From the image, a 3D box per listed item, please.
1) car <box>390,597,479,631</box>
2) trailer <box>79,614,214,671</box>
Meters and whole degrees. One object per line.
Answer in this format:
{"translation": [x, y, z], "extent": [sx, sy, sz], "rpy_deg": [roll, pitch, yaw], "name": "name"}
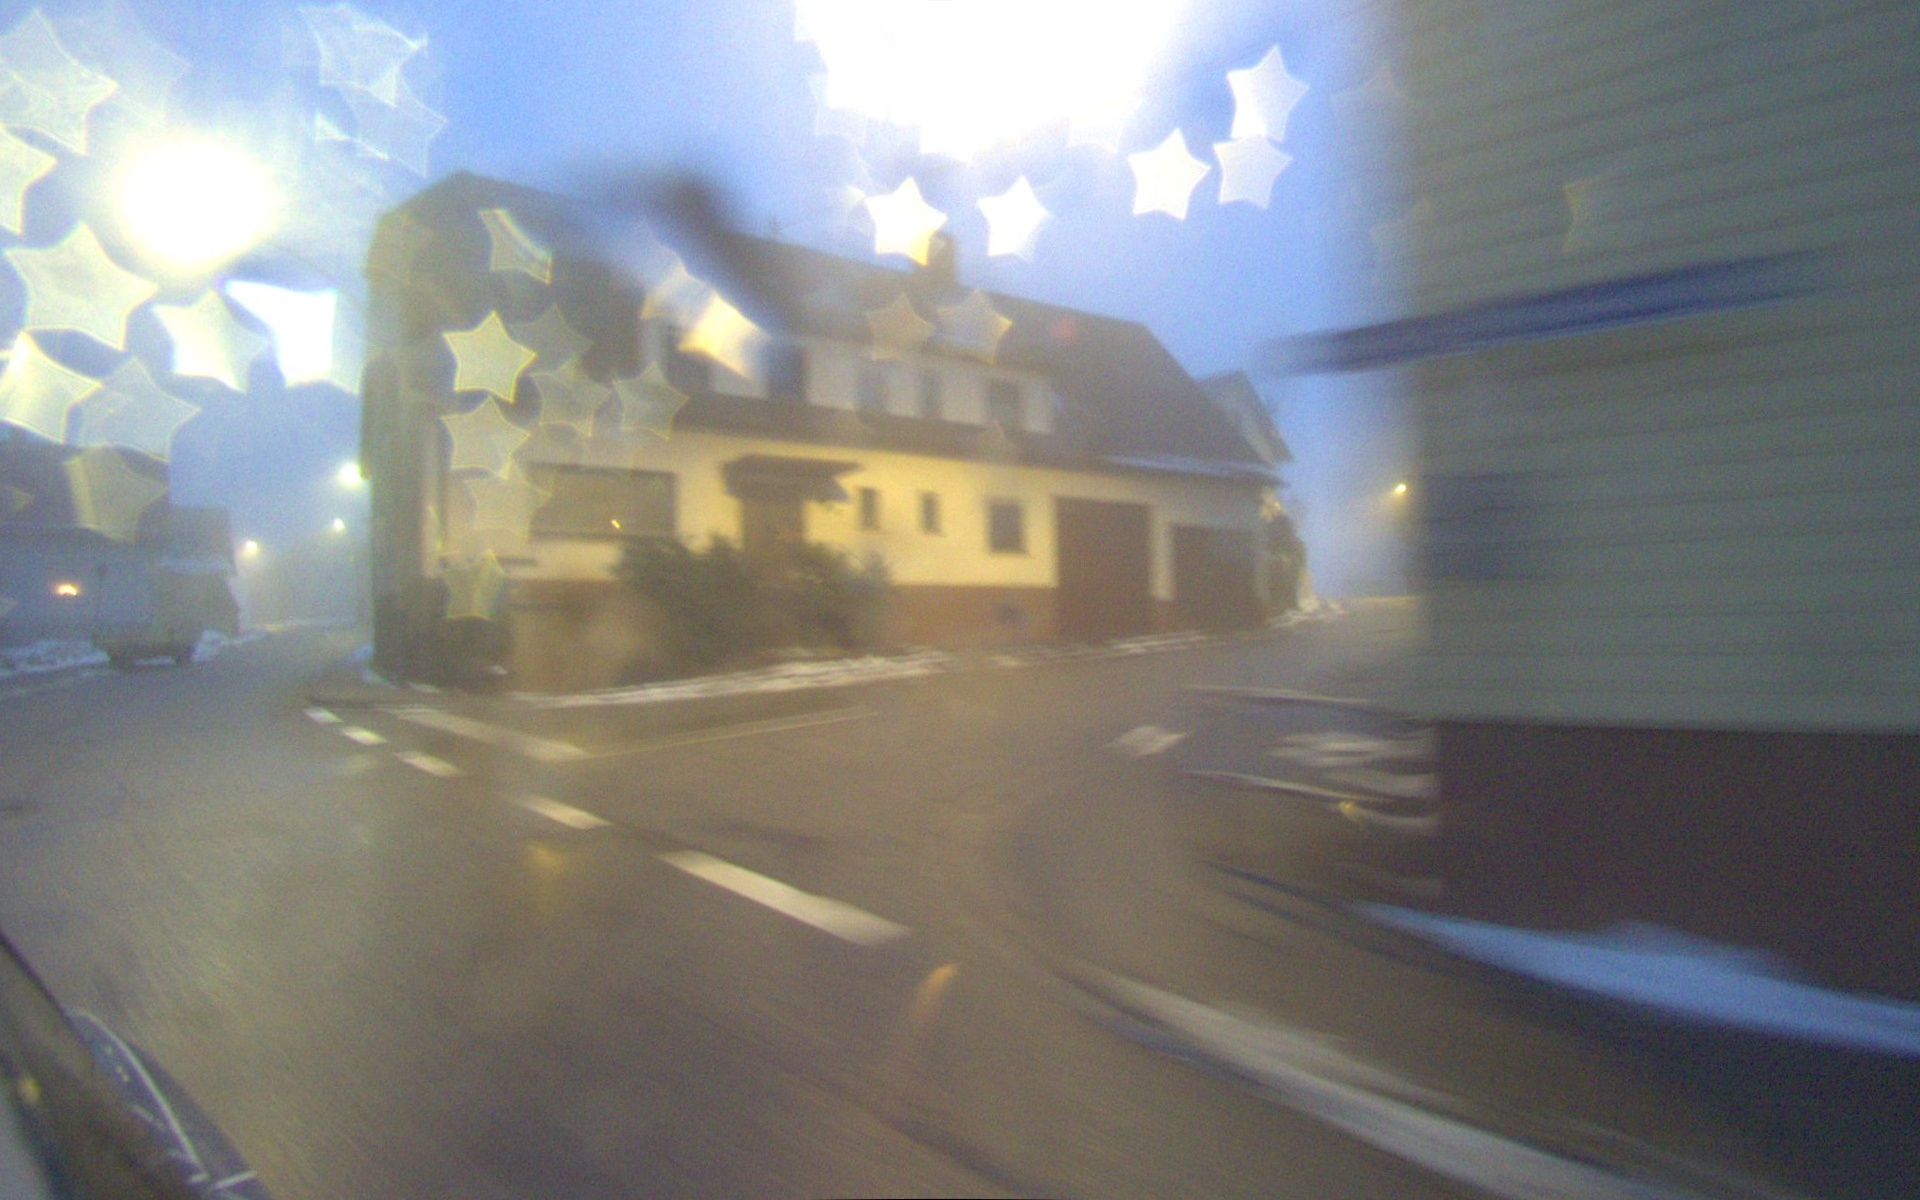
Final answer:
{"translation": [-32.892, 0.851, 63.406], "extent": [4.727, 1.678, 1.896], "rpy_deg": [-6, 4, -31], "name": "car"}
{"translation": [-23.559, 1.172, 29.523], "extent": [1.965, 1.398, 4.747], "rpy_deg": [-2, 1, -25], "name": "trailer"}
